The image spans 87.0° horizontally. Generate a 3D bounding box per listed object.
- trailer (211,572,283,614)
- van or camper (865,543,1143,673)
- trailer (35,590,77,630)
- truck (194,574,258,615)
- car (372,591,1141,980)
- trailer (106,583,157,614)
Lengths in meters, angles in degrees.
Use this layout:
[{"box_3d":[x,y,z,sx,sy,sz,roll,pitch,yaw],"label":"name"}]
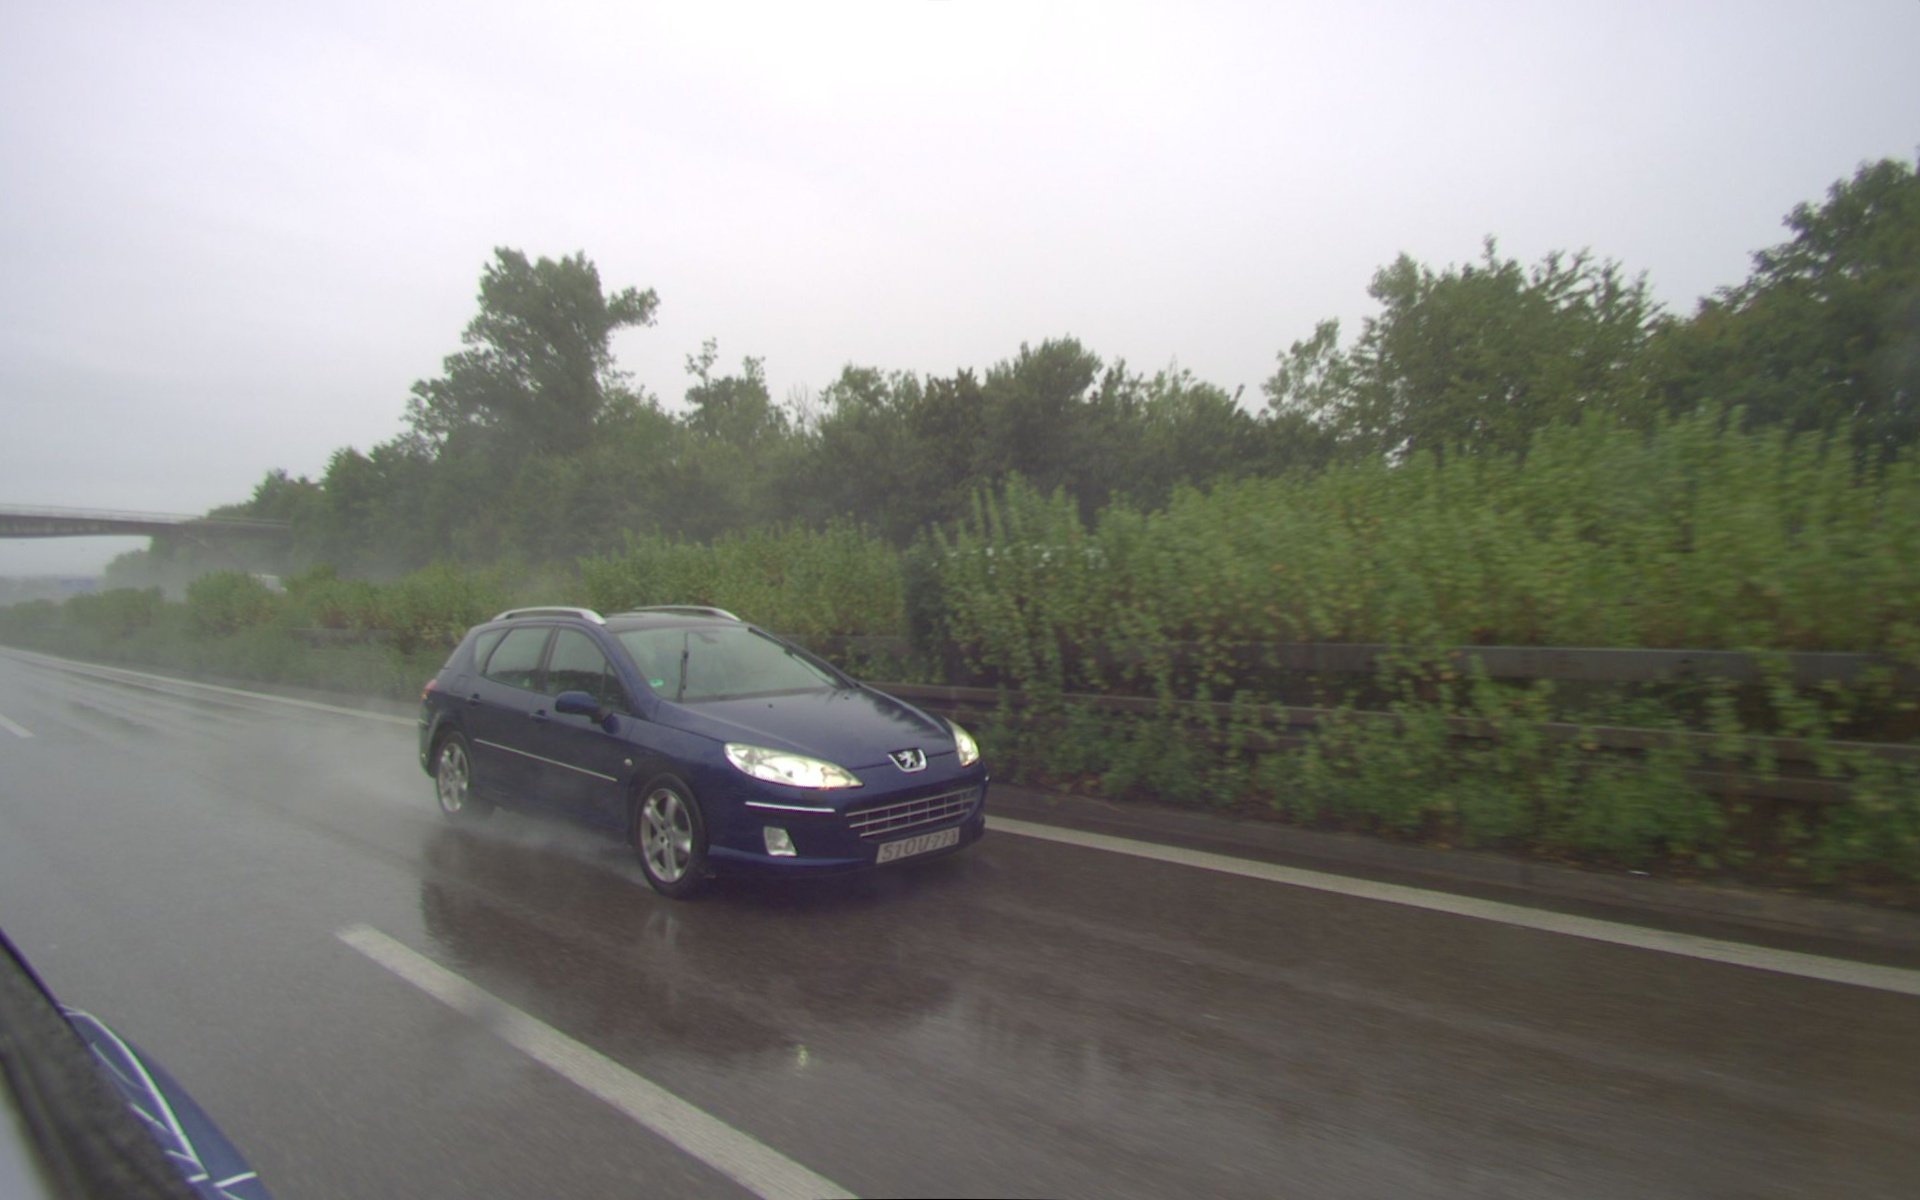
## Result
[{"box_3d":[-43.518,-0.385,61.700,6.647,2.446,2.247,-1,0,42],"label":"trailer"},{"box_3d":[0.798,0.188,21.842,5.890,2.427,2.260,-1,0,42],"label":"van or camper"},{"box_3d":[-126.539,1.454,141.572,11.548,5.499,3.390,-1,-1,43],"label":"trailer"},{"box_3d":[-47.180,-0.331,65.006,5.342,2.441,2.216,-1,-1,42],"label":"truck"},{"box_3d":[-1.632,0.736,6.380,5.155,1.496,2.033,-1,0,41],"label":"car"},{"box_3d":[-99.216,-0.118,121.112,11.548,3.410,3.390,-1,-1,43],"label":"trailer"}]
